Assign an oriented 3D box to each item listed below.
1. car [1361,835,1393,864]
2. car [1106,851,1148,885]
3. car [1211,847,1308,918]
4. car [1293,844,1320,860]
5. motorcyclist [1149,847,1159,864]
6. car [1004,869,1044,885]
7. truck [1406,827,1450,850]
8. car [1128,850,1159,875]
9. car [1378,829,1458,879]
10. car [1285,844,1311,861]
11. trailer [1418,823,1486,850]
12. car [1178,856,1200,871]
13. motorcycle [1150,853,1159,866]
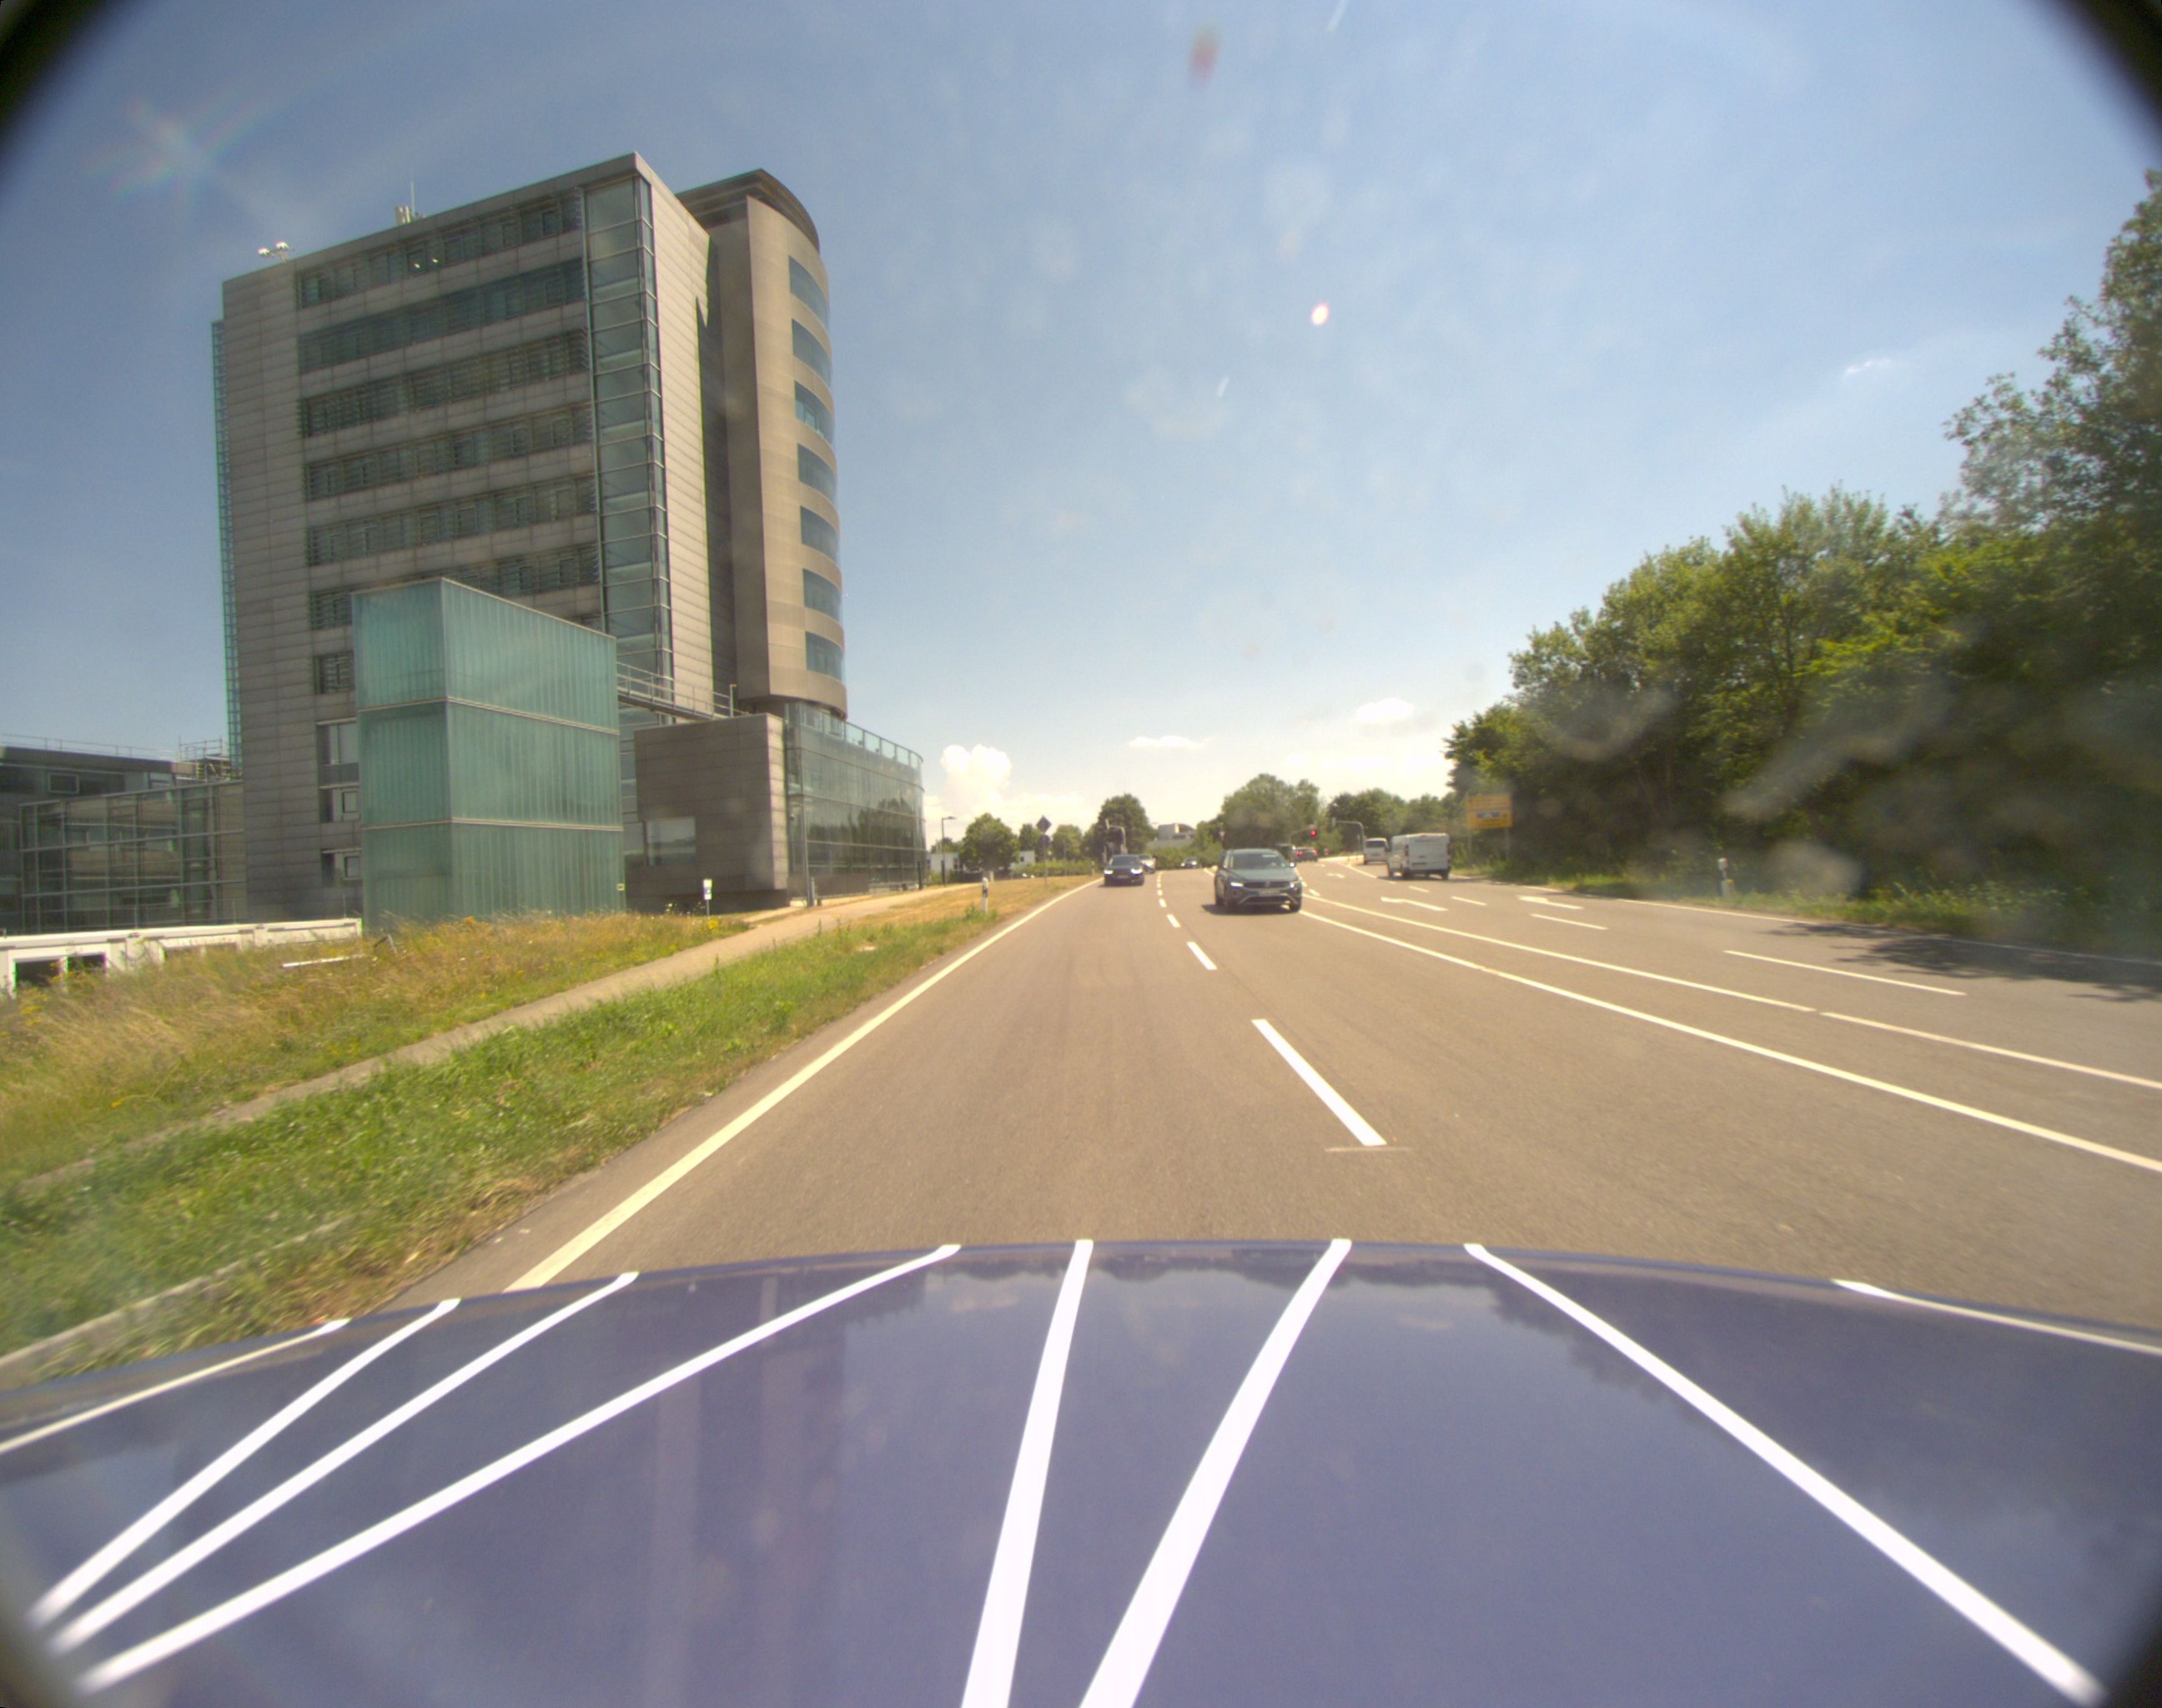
[{"bbox_3d":[22.423,-0.315,57.607,1.976,2.001,4.847,-5,-2,20],"label":"car"},{"bbox_3d":[2.265,0.666,36.756,1.779,1.497,4.563,-1,0,6],"label":"car"},{"bbox_3d":[4.499,0.651,19.739,1.838,1.577,4.392,-2,0,5],"label":"car"},{"bbox_3d":[22.397,-0.201,75.595,1.997,1.430,4.226,-4,-1,9],"label":"car"},{"bbox_3d":[6.477,0.132,67.371,0.860,1.479,1.162,-1,0,3],"label":"motorcyclist"},{"bbox_3d":[-6.672,2.675,89.150,4.354,1.589,1.937,-4,-1,-11],"label":"car"},{"bbox_3d":[59.099,-2.600,129.324,6.865,3.516,2.981,-3,-1,-26],"label":"truck"},{"bbox_3d":[4.607,0.644,55.552,1.933,1.577,4.182,-4,-2,7],"label":"car"},{"bbox_3d":[15.108,0.009,34.425,2.079,2.002,5.812,-2,0,12],"label":"car"},{"bbox_3d":[22.884,-0.105,80.124,1.612,1.589,4.356,-4,-2,3],"label":"car"},{"bbox_3d":[64.554,-3.116,132.110,13.189,4.038,3.068,-3,-1,-27],"label":"trailer"},{"bbox_3d":[12.293,1.043,86.351,2.115,1.582,4.454,-2,0,13],"label":"car"},{"bbox_3d":[6.491,0.482,67.464,0.734,1.131,2.073,0,0,3],"label":"motorcycle"}]
